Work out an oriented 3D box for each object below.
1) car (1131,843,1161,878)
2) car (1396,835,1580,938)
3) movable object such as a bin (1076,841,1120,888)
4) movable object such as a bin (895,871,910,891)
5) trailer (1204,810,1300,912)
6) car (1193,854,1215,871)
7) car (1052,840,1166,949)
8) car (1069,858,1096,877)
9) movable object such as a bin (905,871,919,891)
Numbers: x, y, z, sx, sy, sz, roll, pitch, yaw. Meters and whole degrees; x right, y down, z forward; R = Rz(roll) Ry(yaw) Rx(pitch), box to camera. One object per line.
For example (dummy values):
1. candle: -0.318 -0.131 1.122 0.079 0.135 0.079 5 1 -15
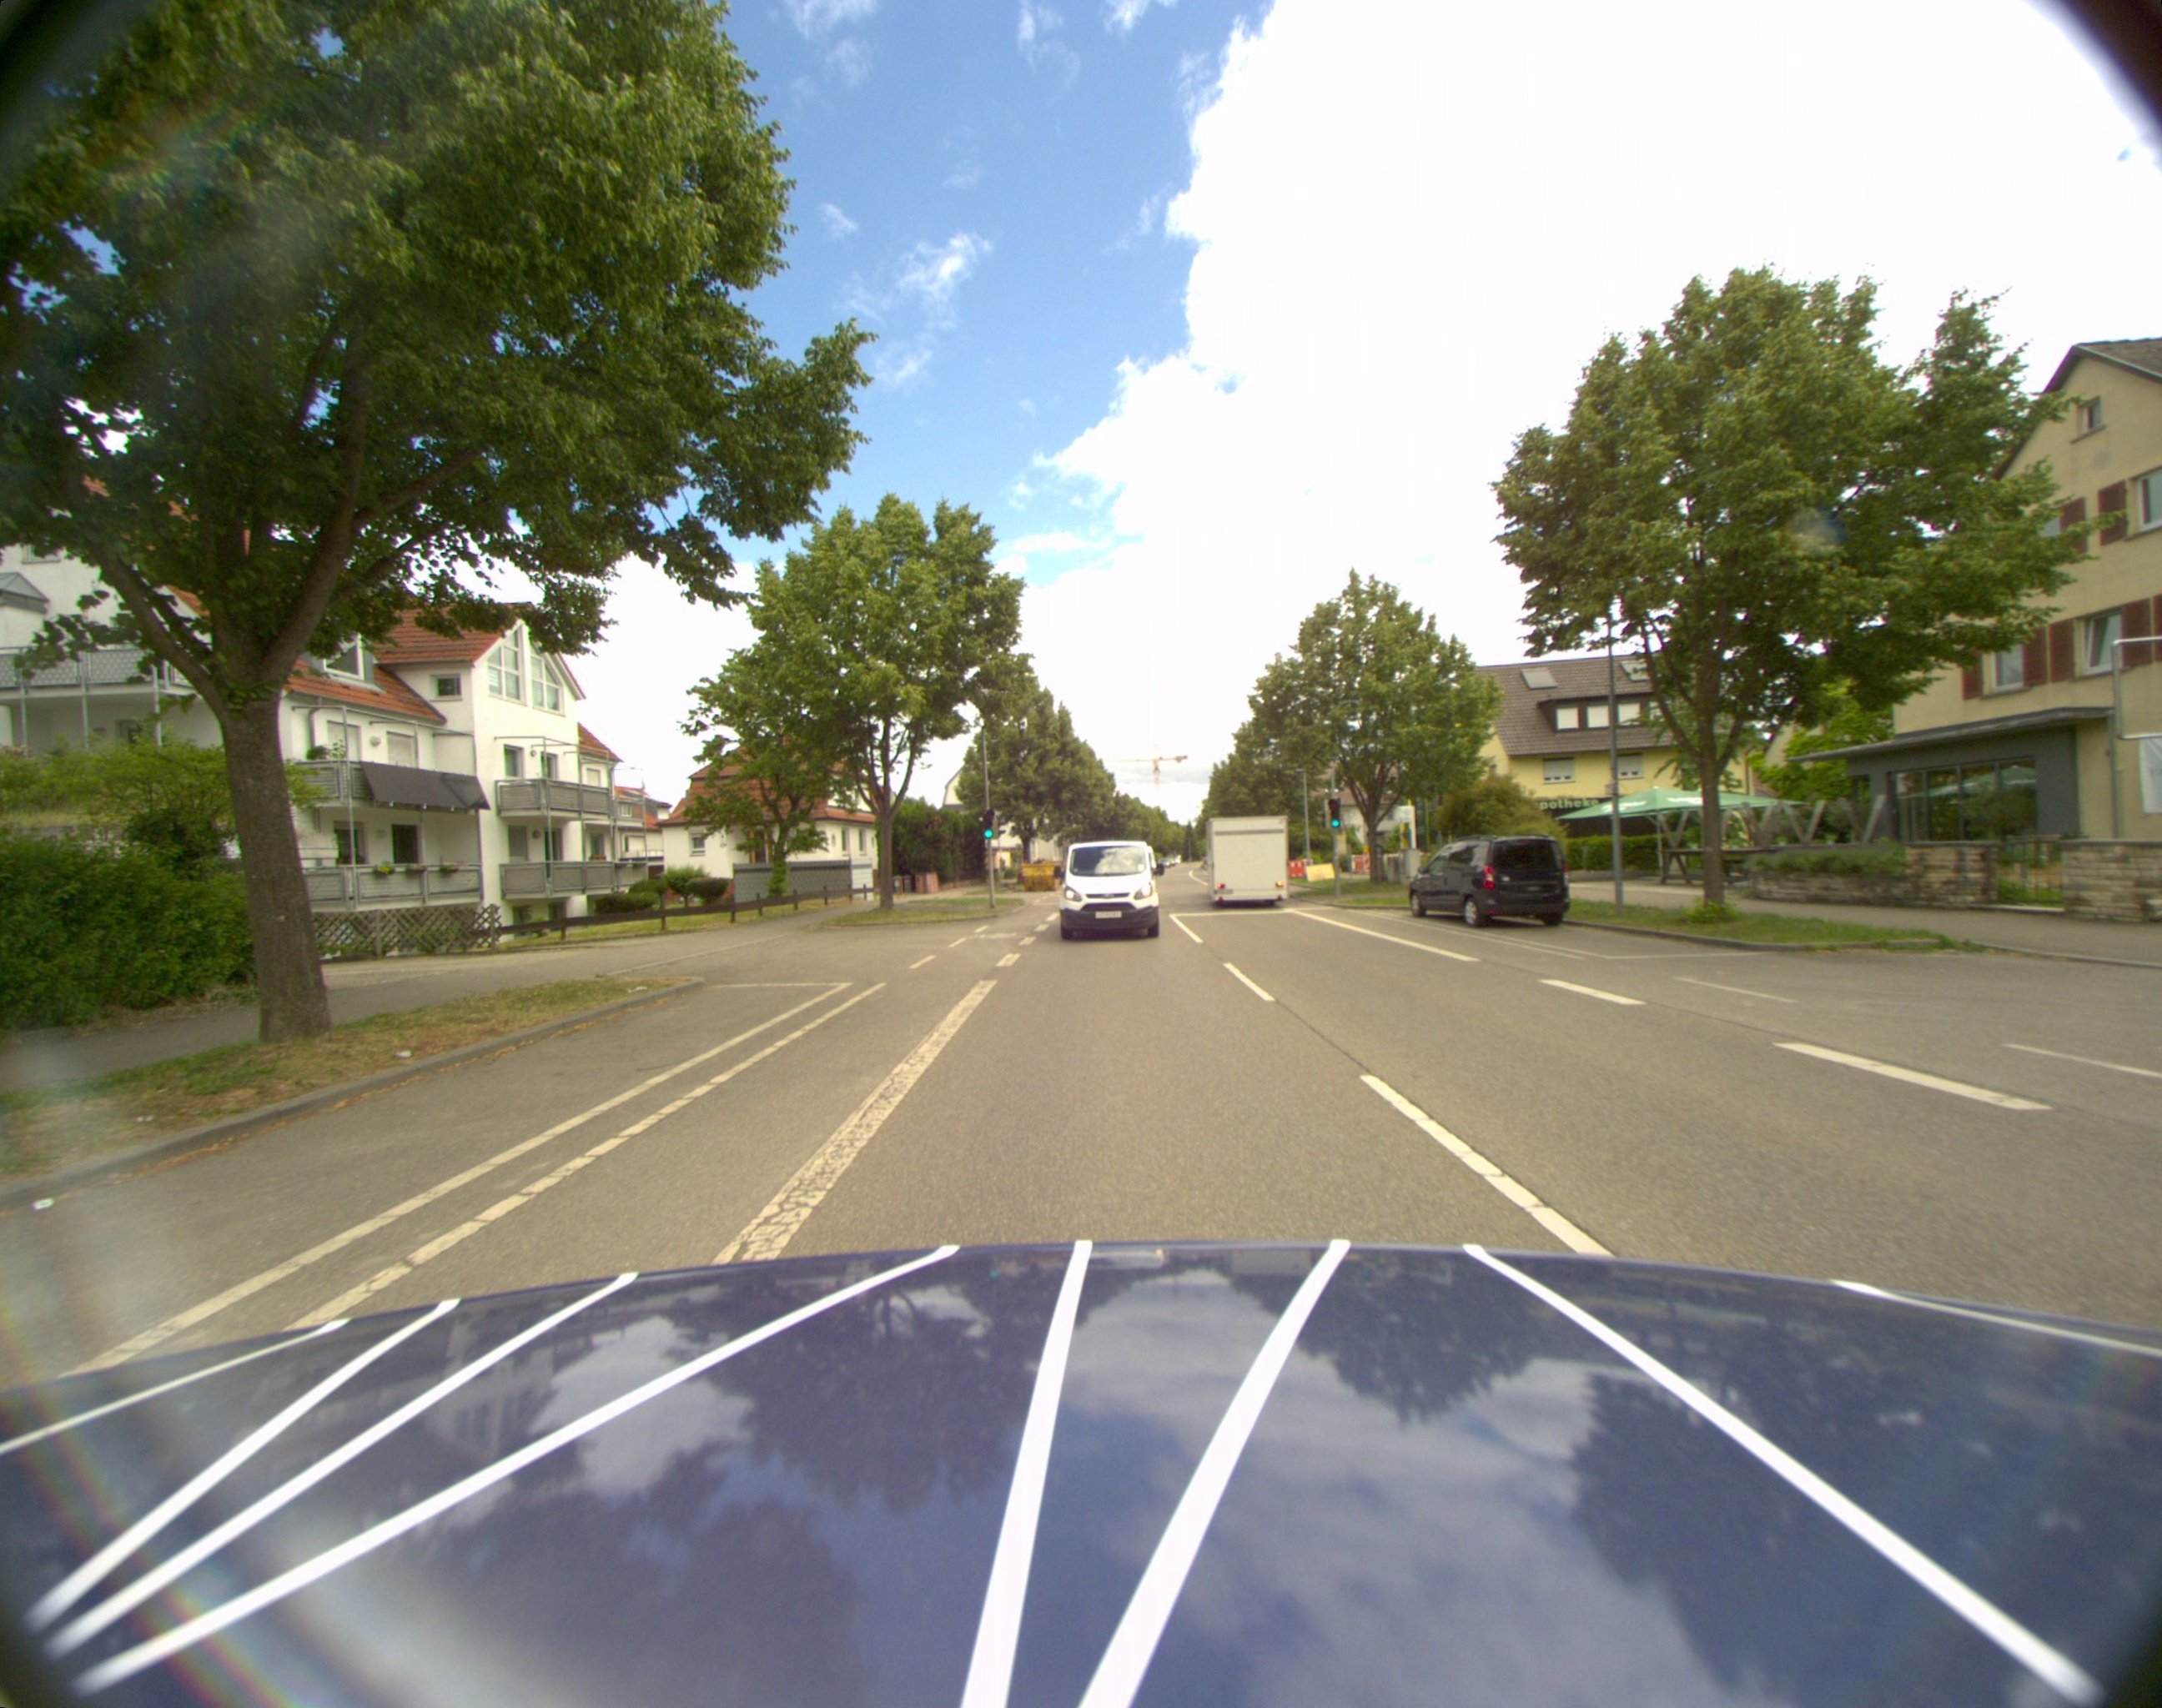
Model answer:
1. car: 5.103 0.507 59.080 1.997 2.584 4.002 -3 0 7
2. car: 8.510 0.610 16.381 1.711 1.863 4.399 -2 0 3
3. movable object such as a bin: 1.043 0.566 44.231 1.997 2.550 4.549 -2 0 7
4. movable object such as a bin: -9.578 1.468 40.807 0.540 1.052 0.519 -2 0 16
5. trailer: 5.526 0.222 25.403 2.639 2.861 6.876 -2 0 10
6. car: 12.441 0.825 76.529 1.889 1.565 4.004 -2 0 13
7. car: 0.819 0.772 16.927 1.997 2.002 5.321 -2 0 7
8. car: 0.183 1.151 67.099 1.821 1.575 4.050 -2 0 7
9. movable object such as a bin: -9.064 1.450 40.653 0.499 1.038 0.520 -2 0 16
